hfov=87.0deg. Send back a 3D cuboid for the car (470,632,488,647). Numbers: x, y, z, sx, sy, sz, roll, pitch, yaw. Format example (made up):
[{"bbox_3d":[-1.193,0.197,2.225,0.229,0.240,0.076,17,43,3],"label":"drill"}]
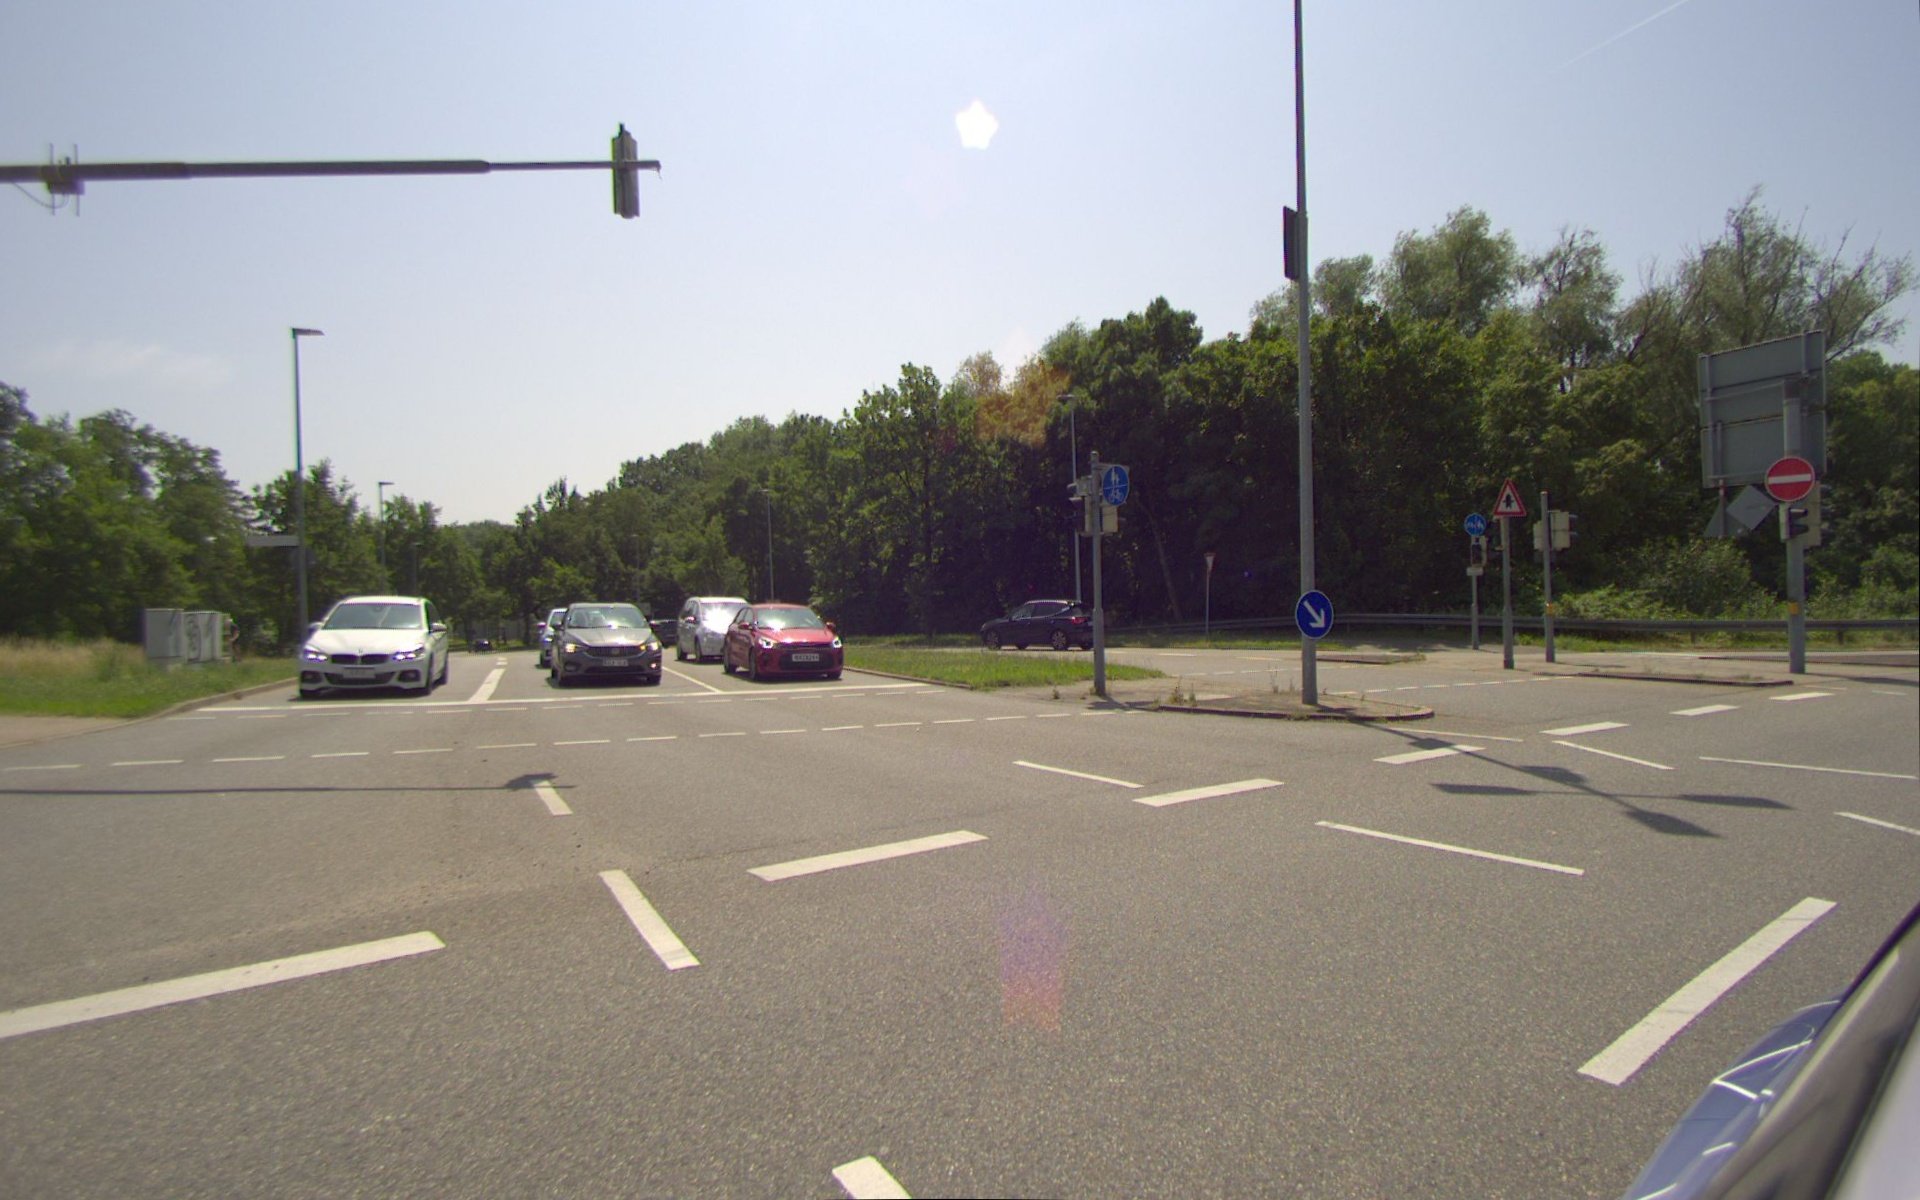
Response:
[{"bbox_3d":[-50.472,4.129,106.125,1.596,1.375,3.324,0,0,-27],"label":"car"}]

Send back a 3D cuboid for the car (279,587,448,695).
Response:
[{"bbox_3d":[-9.685,0.562,16.764,1.829,1.525,4.305,0,0,-22],"label":"car"}]

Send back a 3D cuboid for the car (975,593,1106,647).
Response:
[{"bbox_3d":[2.471,0.576,31.535,3.984,1.571,1.525,0,0,42],"label":"car"}]

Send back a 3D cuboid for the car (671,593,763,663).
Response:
[{"bbox_3d":[-6.359,0.657,26.282,1.550,1.673,3.613,0,0,-27],"label":"car"}]

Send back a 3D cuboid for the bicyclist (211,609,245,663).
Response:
[{"bbox_3d":[-22.397,1.085,30.991,0.656,1.619,0.693,0,0,-17],"label":"bicyclist"}]

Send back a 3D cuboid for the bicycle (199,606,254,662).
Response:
[{"bbox_3d":[-22.400,1.001,30.952,0.642,1.594,2.379,0,0,-18],"label":"bicycle"}]

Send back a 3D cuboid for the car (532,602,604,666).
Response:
[{"bbox_3d":[-9.928,0.790,25.521,1.549,1.448,4.008,0,0,-23],"label":"car"}]

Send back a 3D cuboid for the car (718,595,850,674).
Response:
[{"bbox_3d":[-3.620,0.606,20.206,1.718,1.371,4.194,0,0,-22],"label":"car"}]

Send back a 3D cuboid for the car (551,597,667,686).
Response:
[{"bbox_3d":[-6.720,0.681,19.094,1.829,1.442,4.194,0,0,-22],"label":"car"}]

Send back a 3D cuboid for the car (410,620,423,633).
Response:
[{"bbox_3d":[-74.365,3.628,138.438,1.472,1.631,3.570,0,0,-32],"label":"car"}]

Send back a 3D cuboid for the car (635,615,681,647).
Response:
[{"bbox_3d":[-18.118,1.807,60.584,1.661,1.772,3.694,0,0,-33],"label":"car"}]
